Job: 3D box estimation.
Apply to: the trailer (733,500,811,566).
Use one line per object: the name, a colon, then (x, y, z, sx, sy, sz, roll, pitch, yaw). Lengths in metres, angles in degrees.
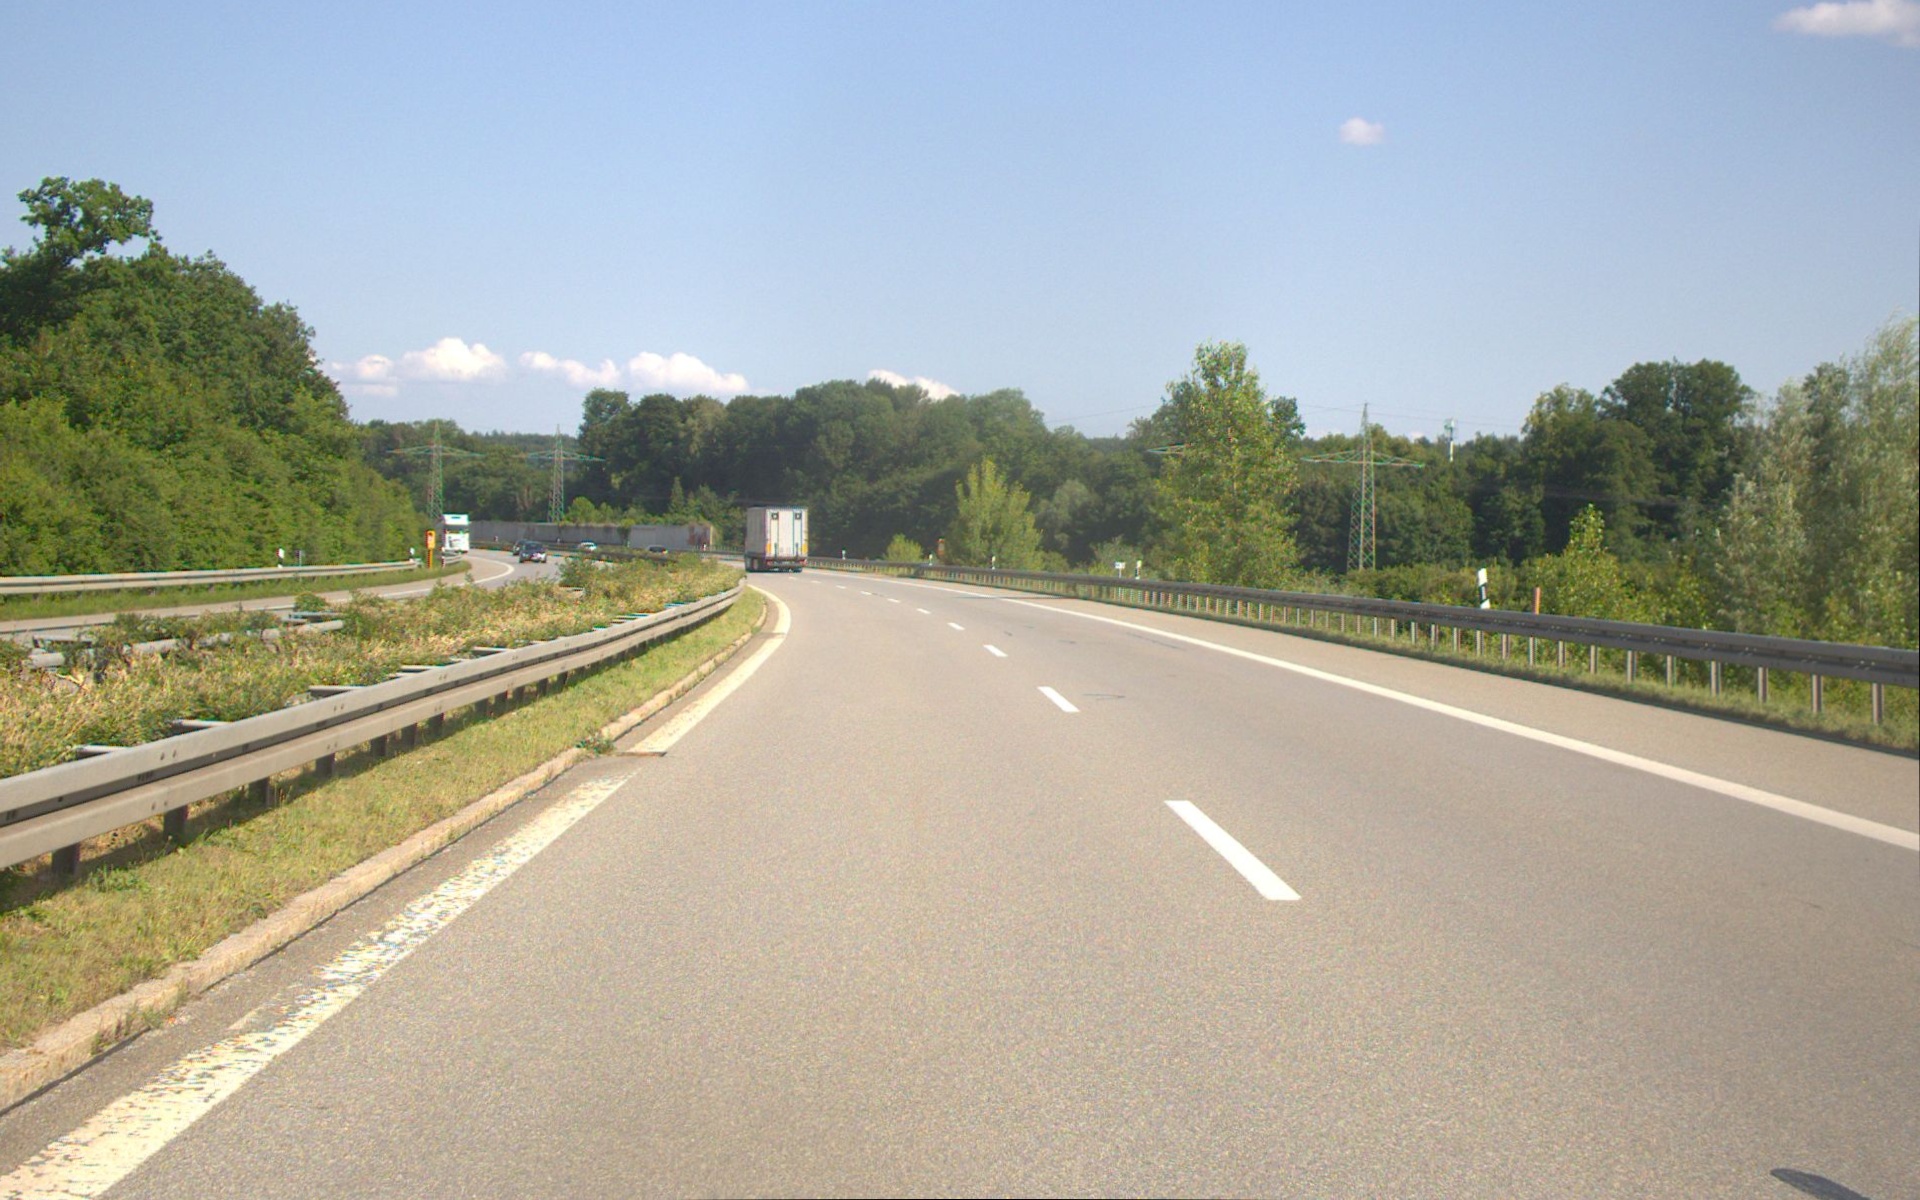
trailer: (-11.856, -4.222, 215.583, 2.883, 4.052, 12.424, 0, 1, -13)

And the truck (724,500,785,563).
truck: (-13.253, -4.439, 221.681, 2.829, 3.998, 6.589, 0, 1, -13)
